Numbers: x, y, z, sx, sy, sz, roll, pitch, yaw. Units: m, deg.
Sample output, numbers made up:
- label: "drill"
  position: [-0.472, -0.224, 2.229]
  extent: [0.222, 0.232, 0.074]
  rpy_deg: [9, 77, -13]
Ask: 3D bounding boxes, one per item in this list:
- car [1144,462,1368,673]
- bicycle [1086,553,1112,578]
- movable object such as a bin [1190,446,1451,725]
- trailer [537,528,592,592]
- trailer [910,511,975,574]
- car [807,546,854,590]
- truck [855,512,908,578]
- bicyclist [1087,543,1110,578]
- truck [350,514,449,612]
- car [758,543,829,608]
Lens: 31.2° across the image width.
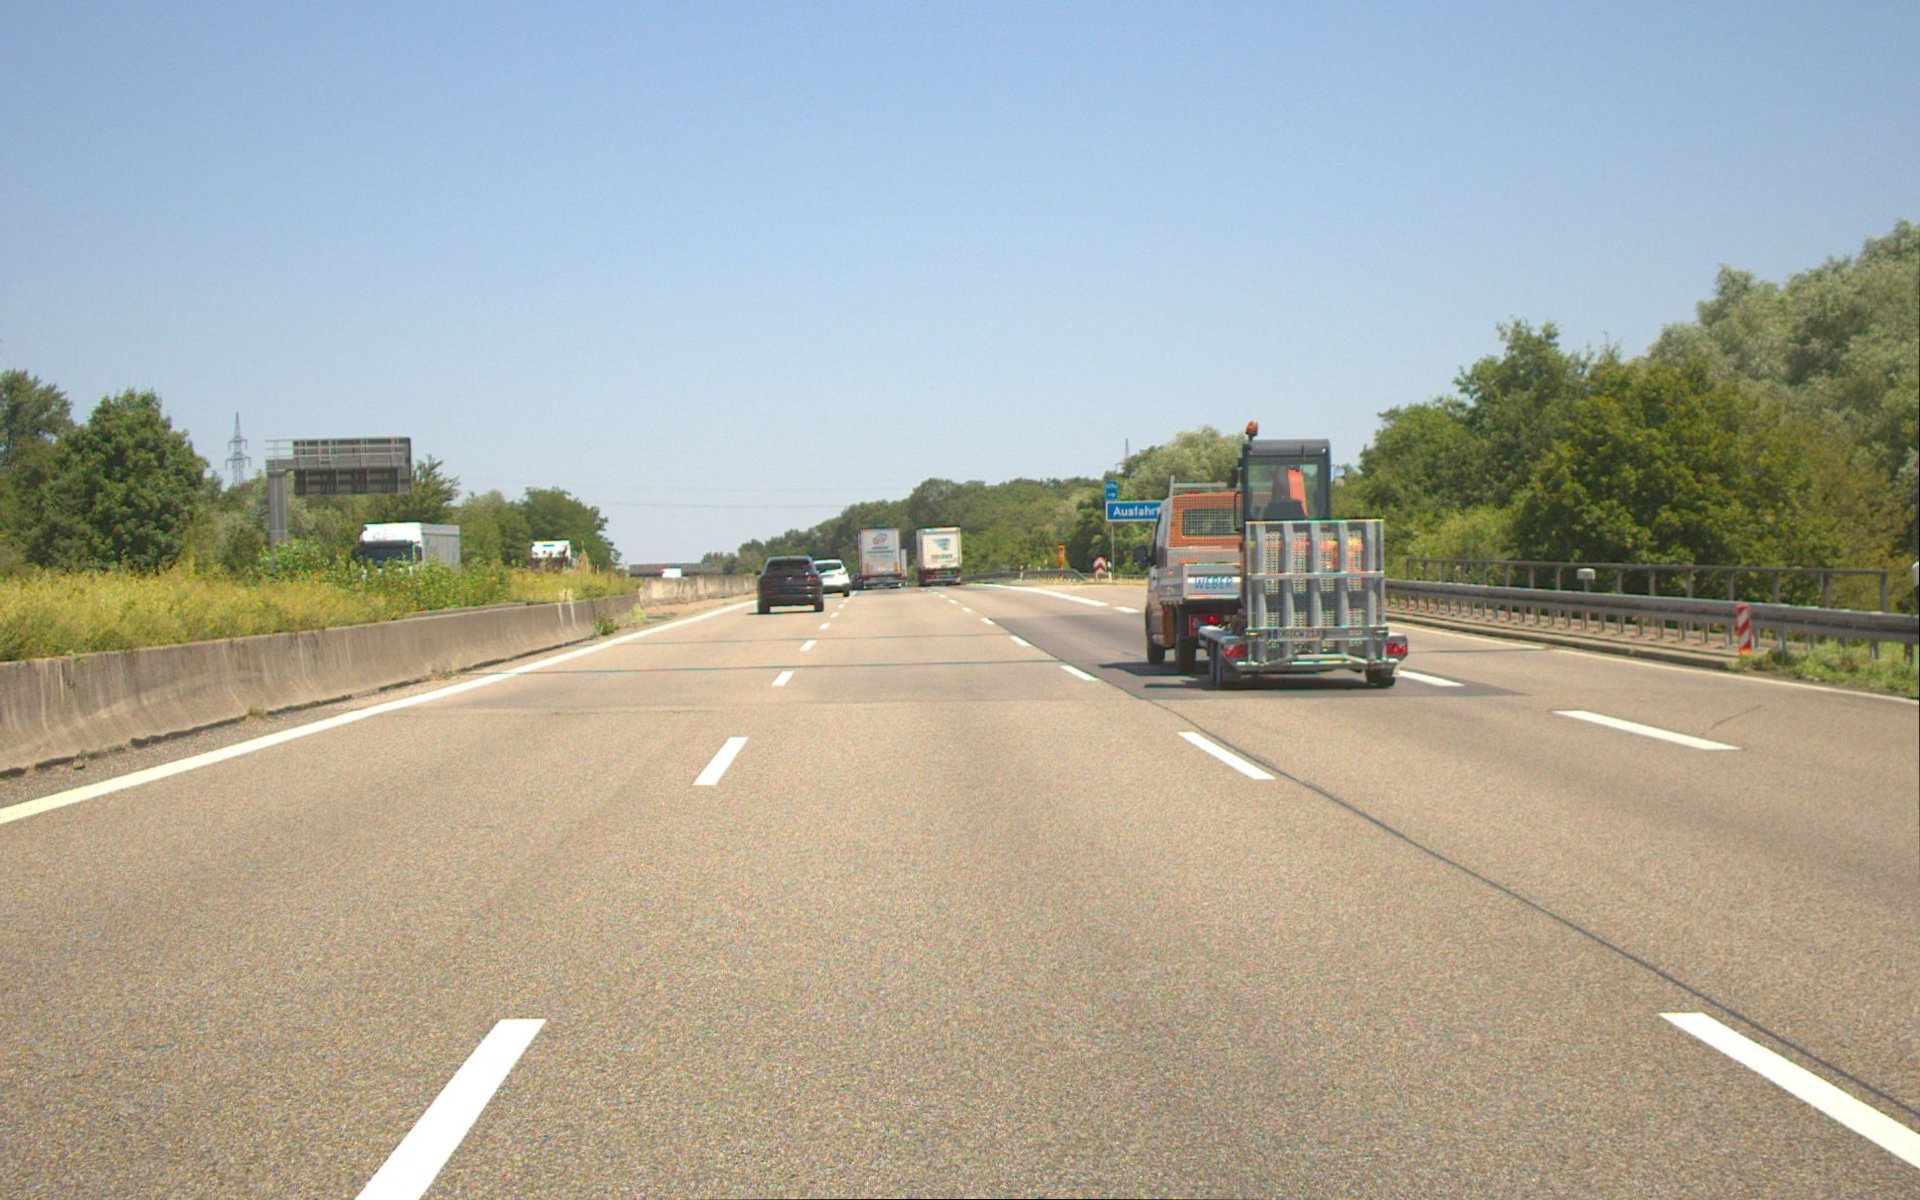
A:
- label: "car"
  position: [3.657, -0.415, 43.837]
  extent: [1.993, 2.397, 7.227]
  rpy_deg: [-2, 1, -1]
- label: "bicycle"
  position: [6.417, -1.590, 158.630]
  extent: [0.960, 1.153, 2.606]
  rpy_deg: [1, 1, 7]
- label: "movable object such as a bin"
  position: [3.887, -0.175, 37.871]
  extent: [2.174, 2.806, 4.761]
  rpy_deg: [-2, 1, -1]
- label: "trailer"
  position: [-25.700, -2.574, 223.823]
  extent: [2.807, 4.033, 10.432]
  rpy_deg: [1, 1, -2]
- label: "trailer"
  position: [-1.238, -3.879, 233.916]
  extent: [3.367, 4.128, 9.093]
  rpy_deg: [1, 1, -7]
- label: "car"
  position: [-5.711, -1.420, 151.837]
  extent: [1.993, 1.868, 4.000]
  rpy_deg: [-1, 1, -1]
- label: "truck"
  position: [-5.080, -3.525, 220.388]
  extent: [3.229, 4.188, 8.467]
  rpy_deg: [0, 1, -2]
- label: "bicyclist"
  position: [6.401, -1.818, 158.522]
  extent: [0.960, 1.590, 0.807]
  rpy_deg: [1, 0, 7]
- label: "truck"
  position: [-24.421, -1.657, 150.132]
  extent: [2.984, 4.062, 8.194]
  rpy_deg: [-2, 1, -1]
- label: "car"
  position: [-5.071, -0.754, 105.184]
  extent: [1.993, 1.868, 4.000]
  rpy_deg: [-2, 1, -1]
